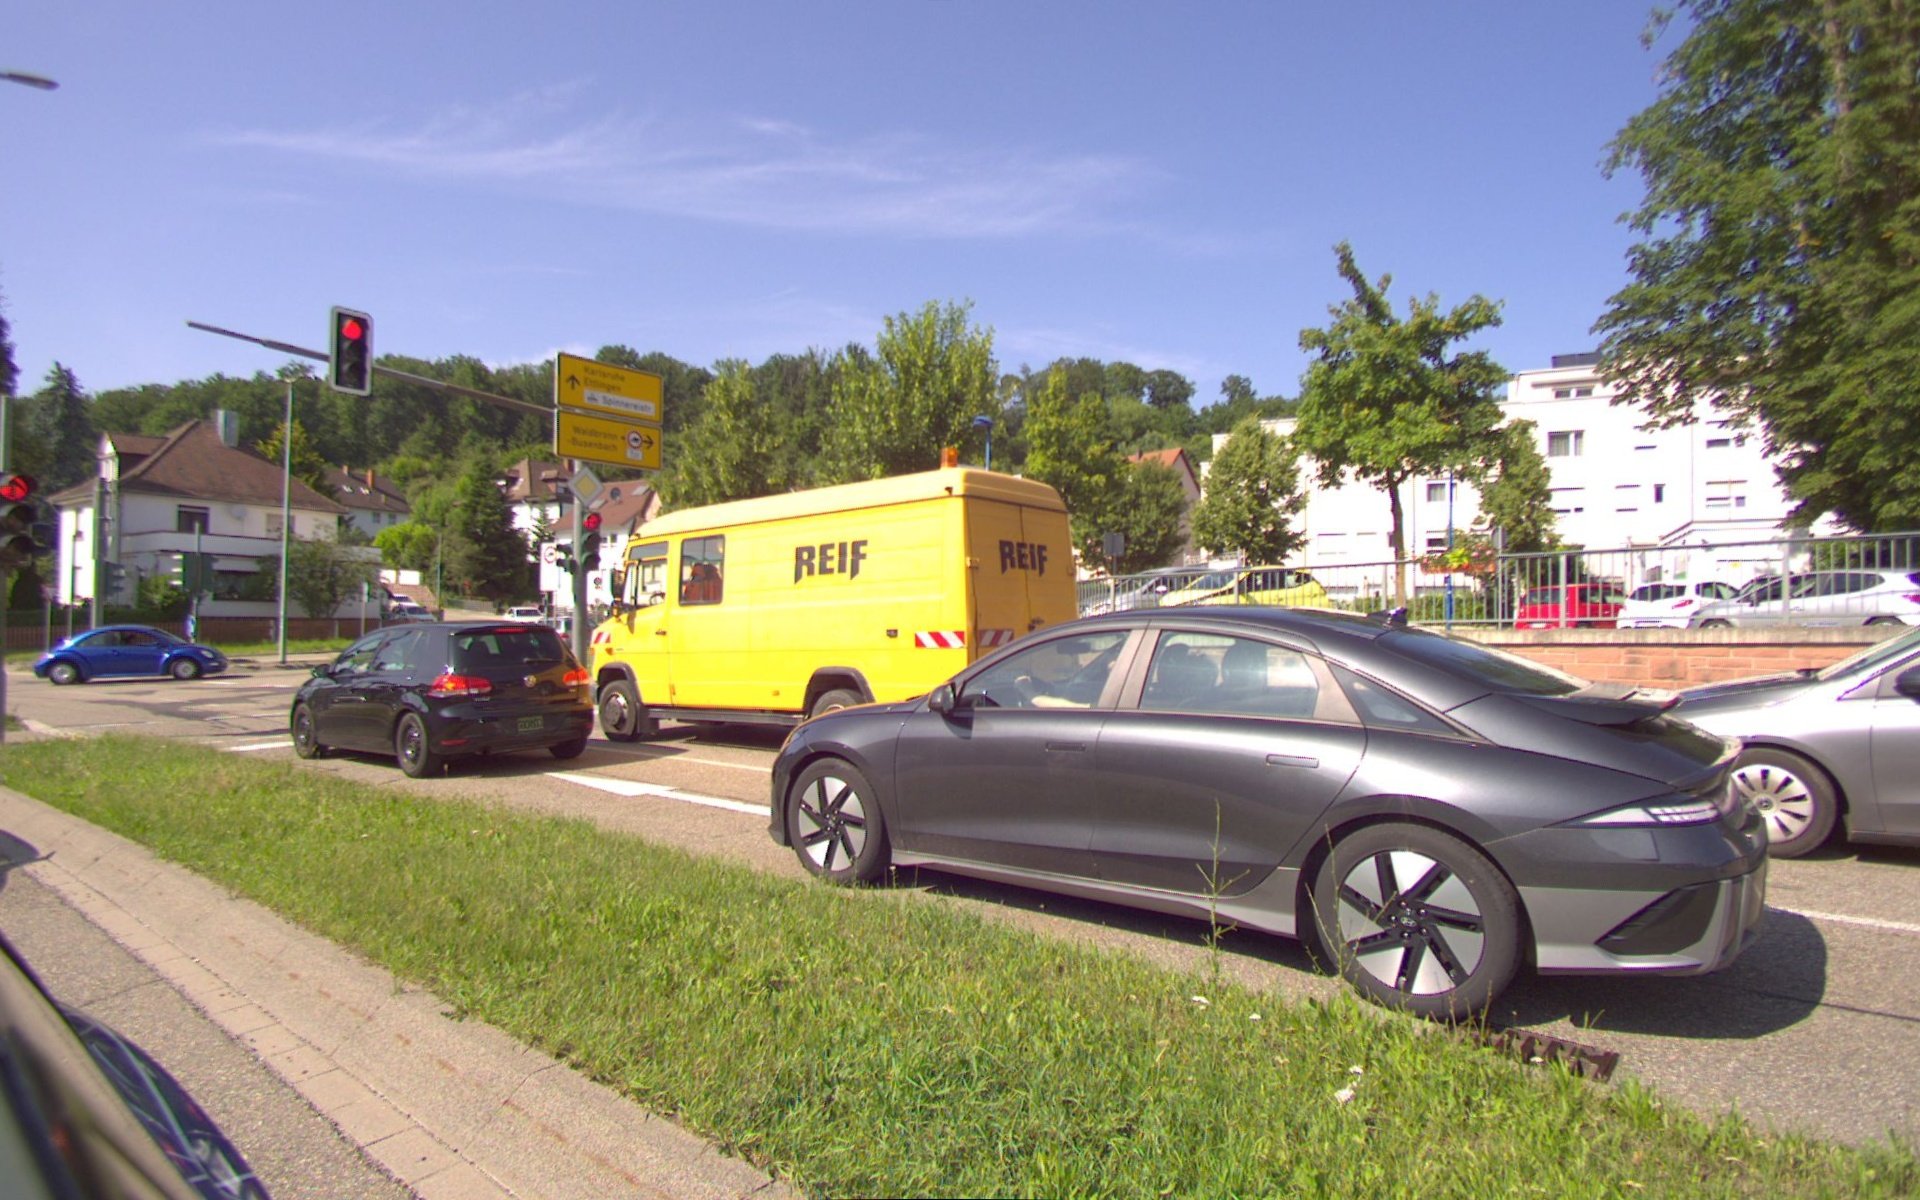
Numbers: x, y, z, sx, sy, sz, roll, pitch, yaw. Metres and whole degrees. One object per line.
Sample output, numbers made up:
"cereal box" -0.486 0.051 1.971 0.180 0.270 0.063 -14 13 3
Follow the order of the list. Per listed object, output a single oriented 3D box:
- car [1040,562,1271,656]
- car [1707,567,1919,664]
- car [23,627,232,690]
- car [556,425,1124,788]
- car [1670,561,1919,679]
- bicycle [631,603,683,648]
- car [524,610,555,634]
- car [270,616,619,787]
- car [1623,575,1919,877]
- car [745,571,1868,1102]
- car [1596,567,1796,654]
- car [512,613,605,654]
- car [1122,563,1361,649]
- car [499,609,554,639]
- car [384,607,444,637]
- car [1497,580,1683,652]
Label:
"car" 4.166 0.158 21.665 4.339 1.709 2.064 -3 1 -21
"car" 17.346 0.278 20.193 3.931 1.684 2.006 -2 -1 -19
"car" -21.809 1.477 26.727 3.917 1.515 1.987 0 -1 -27
"car" -1.630 0.096 11.404 6.456 3.033 2.444 -1 0 38
"car" 14.876 0.337 17.348 1.888 1.803 4.013 0 -1 -21
"bicycle" -9.317 0.796 31.078 1.756 1.265 0.612 -5 1 42
"car" -28.044 1.474 67.431 1.633 1.545 3.967 -1 -2 -27
"car" -5.510 0.928 10.634 4.037 1.474 1.729 -2 -2 38
"car" 6.367 0.633 5.343 4.509 1.576 1.972 -2 -1 43
"car" 1.187 0.713 4.983 4.709 1.482 1.775 -2 -1 38
"car" 16.785 0.228 23.098 3.931 1.714 1.920 -3 -1 -24
"car" -16.468 1.352 41.799 1.953 1.515 4.751 -2 -1 0
"car" 5.324 0.099 19.218 3.931 1.392 1.920 -2 0 -21
"car" -24.979 1.389 58.281 1.968 1.619 4.008 -2 -1 -37
"car" -33.085 1.360 61.257 3.999 1.649 1.914 -3 -1 42
"car" 15.752 0.386 25.330 3.931 1.571 1.920 -2 -1 -21
